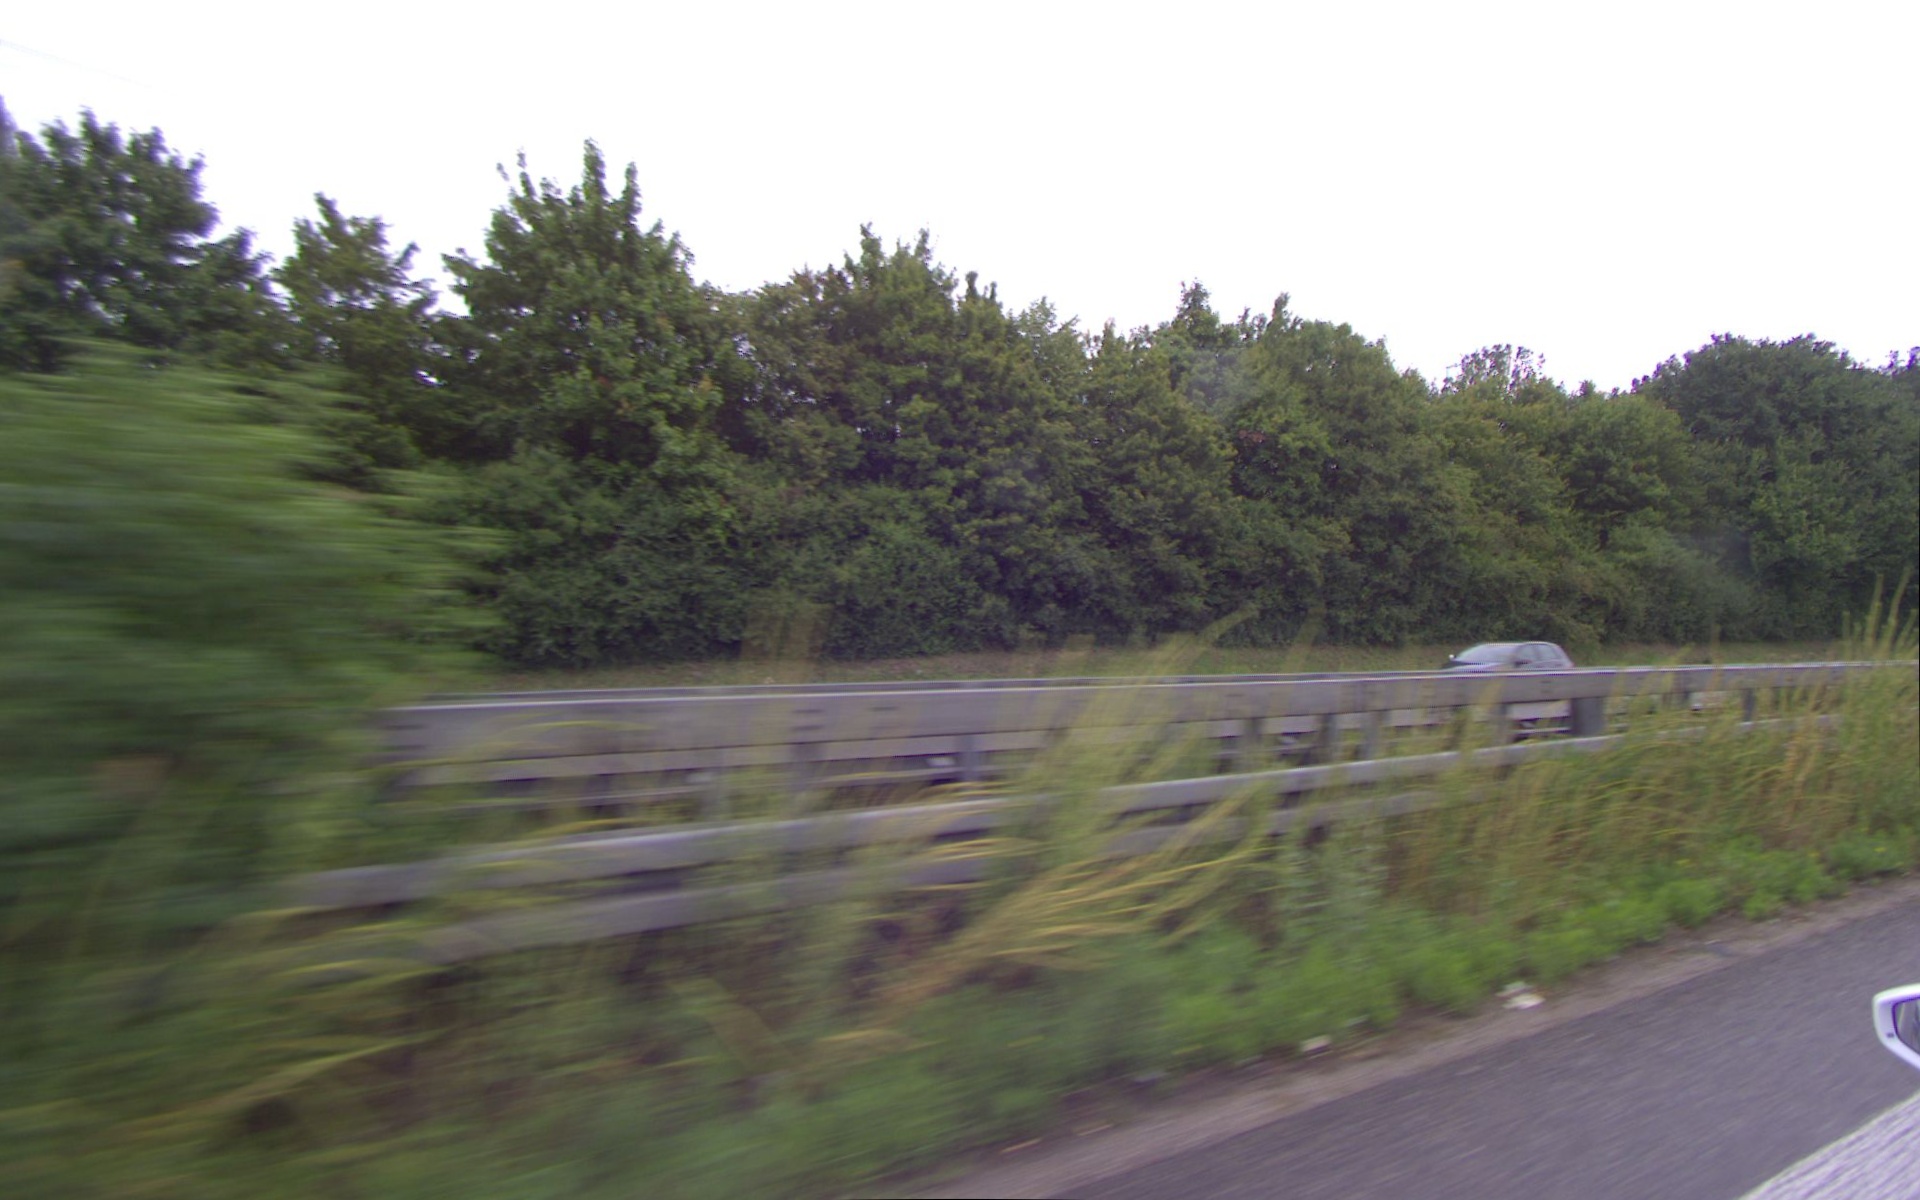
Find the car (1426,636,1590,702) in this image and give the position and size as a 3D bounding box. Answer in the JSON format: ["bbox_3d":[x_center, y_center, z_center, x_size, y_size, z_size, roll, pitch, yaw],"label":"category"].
[{"bbox_3d":[13.052,1.576,23.878,3.953,1.416,1.670,1,-2,-31],"label":"car"}]
